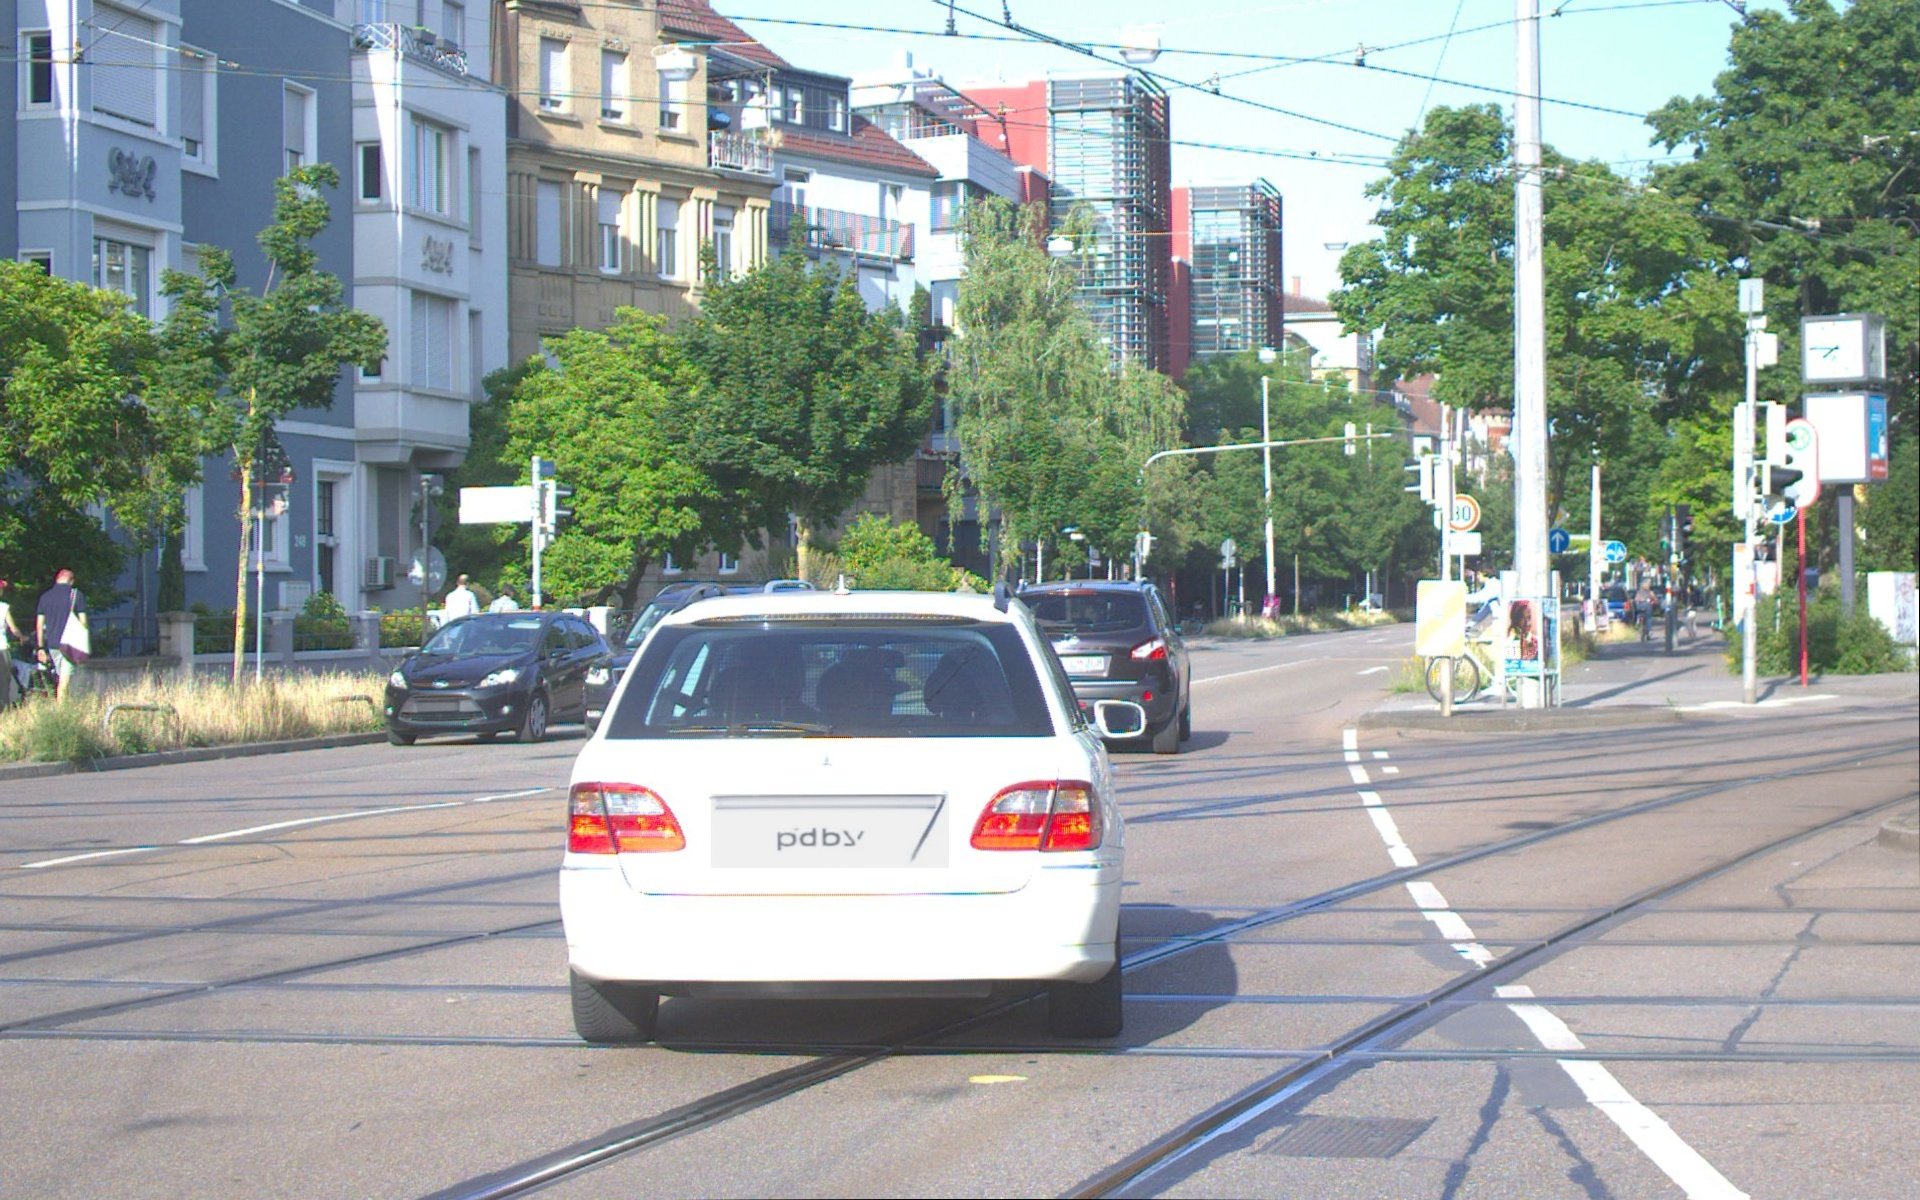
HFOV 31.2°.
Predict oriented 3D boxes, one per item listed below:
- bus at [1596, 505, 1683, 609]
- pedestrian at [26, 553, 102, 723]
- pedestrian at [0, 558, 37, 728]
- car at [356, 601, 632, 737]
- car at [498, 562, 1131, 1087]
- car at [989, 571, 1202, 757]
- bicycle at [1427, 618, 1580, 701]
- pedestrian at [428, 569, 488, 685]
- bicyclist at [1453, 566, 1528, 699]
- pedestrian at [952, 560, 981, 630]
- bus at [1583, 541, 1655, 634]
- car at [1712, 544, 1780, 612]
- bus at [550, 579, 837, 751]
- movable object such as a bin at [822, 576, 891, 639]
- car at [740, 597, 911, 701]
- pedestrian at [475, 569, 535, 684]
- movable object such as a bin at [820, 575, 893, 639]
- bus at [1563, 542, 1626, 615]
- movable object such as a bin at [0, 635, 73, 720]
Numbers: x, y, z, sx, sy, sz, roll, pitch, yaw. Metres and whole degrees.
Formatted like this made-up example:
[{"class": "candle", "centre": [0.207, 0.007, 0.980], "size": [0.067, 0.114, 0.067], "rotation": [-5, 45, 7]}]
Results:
[{"class": "bus", "centre": [16.507, -1.016, 83.694], "size": [1.798, 2.405, 3.998], "rotation": [2, 0, 8]}, {"class": "pedestrian", "centre": [-9.950, 0.419, 38.196], "size": [0.585, 1.874, 0.626], "rotation": [0, 0, 12]}, {"class": "pedestrian", "centre": [-10.693, 0.468, 38.233], "size": [0.584, 1.874, 0.626], "rotation": [0, 0, 11]}, {"class": "car", "centre": [-5.072, 0.729, 37.933], "size": [1.690, 1.415, 3.997], "rotation": [0, 0, 13]}, {"class": "car", "centre": [-0.352, 0.644, 12.022], "size": [1.835, 1.496, 3.815], "rotation": [1, 0, 2]}, {"class": "car", "centre": [1.322, 0.547, 32.142], "size": [1.642, 1.595, 3.814], "rotation": [1, 0, 7]}, {"class": "bicycle", "centre": [7.052, 0.772, 44.660], "size": [1.914, 0.991, 0.726], "rotation": [-2, 0, 7]}, {"class": "pedestrian", "centre": [-7.680, 0.407, 52.587], "size": [0.638, 1.745, 0.911], "rotation": [-1, 0, 10]}, {"class": "bicyclist", "centre": [6.890, 0.418, 44.676], "size": [0.899, 1.693, 0.732], "rotation": [-2, 0, 7]}, {"class": "pedestrian", "centre": [0.165, -0.124, 86.429], "size": [0.638, 1.745, 0.607], "rotation": [-1, 0, 10]}, {"class": "bus", "centre": [18.863, -0.339, 98.469], "size": [1.798, 2.546, 3.998], "rotation": [2, 0, 9]}, {"class": "car", "centre": [21.824, -0.604, 95.386], "size": [1.747, 1.867, 3.997], "rotation": [0, 0, 14]}, {"class": "bus", "centre": [-2.621, 0.610, 34.816], "size": [1.845, 1.630, 4.157], "rotation": [0, 0, 11]}, {"class": "movable object such as a bin", "centre": [-2.364, 0.161, 78.876], "size": [1.533, 1.416, 1.084], "rotation": [-1, 0, 0]}, {"class": "car", "centre": [-1.970, 0.711, 51.521], "size": [1.690, 1.436, 3.998], "rotation": [0, 1, 11]}, {"class": "pedestrian", "centre": [-6.943, 0.398, 52.453], "size": [0.638, 1.745, 0.911], "rotation": [-1, 0, 10]}, {"class": "movable object such as a bin", "centre": [-2.344, 0.150, 77.760], "size": [1.603, 1.416, 1.084], "rotation": [-1, 0, 0]}, {"class": "bus", "centre": [21.129, -0.693, 114.565], "size": [1.798, 2.325, 3.998], "rotation": [2, 0, 8]}, {"class": "movable object such as a bin", "centre": [-10.500, 0.874, 39.014], "size": [0.583, 0.943, 0.662], "rotation": [0, 0, 17]}]
